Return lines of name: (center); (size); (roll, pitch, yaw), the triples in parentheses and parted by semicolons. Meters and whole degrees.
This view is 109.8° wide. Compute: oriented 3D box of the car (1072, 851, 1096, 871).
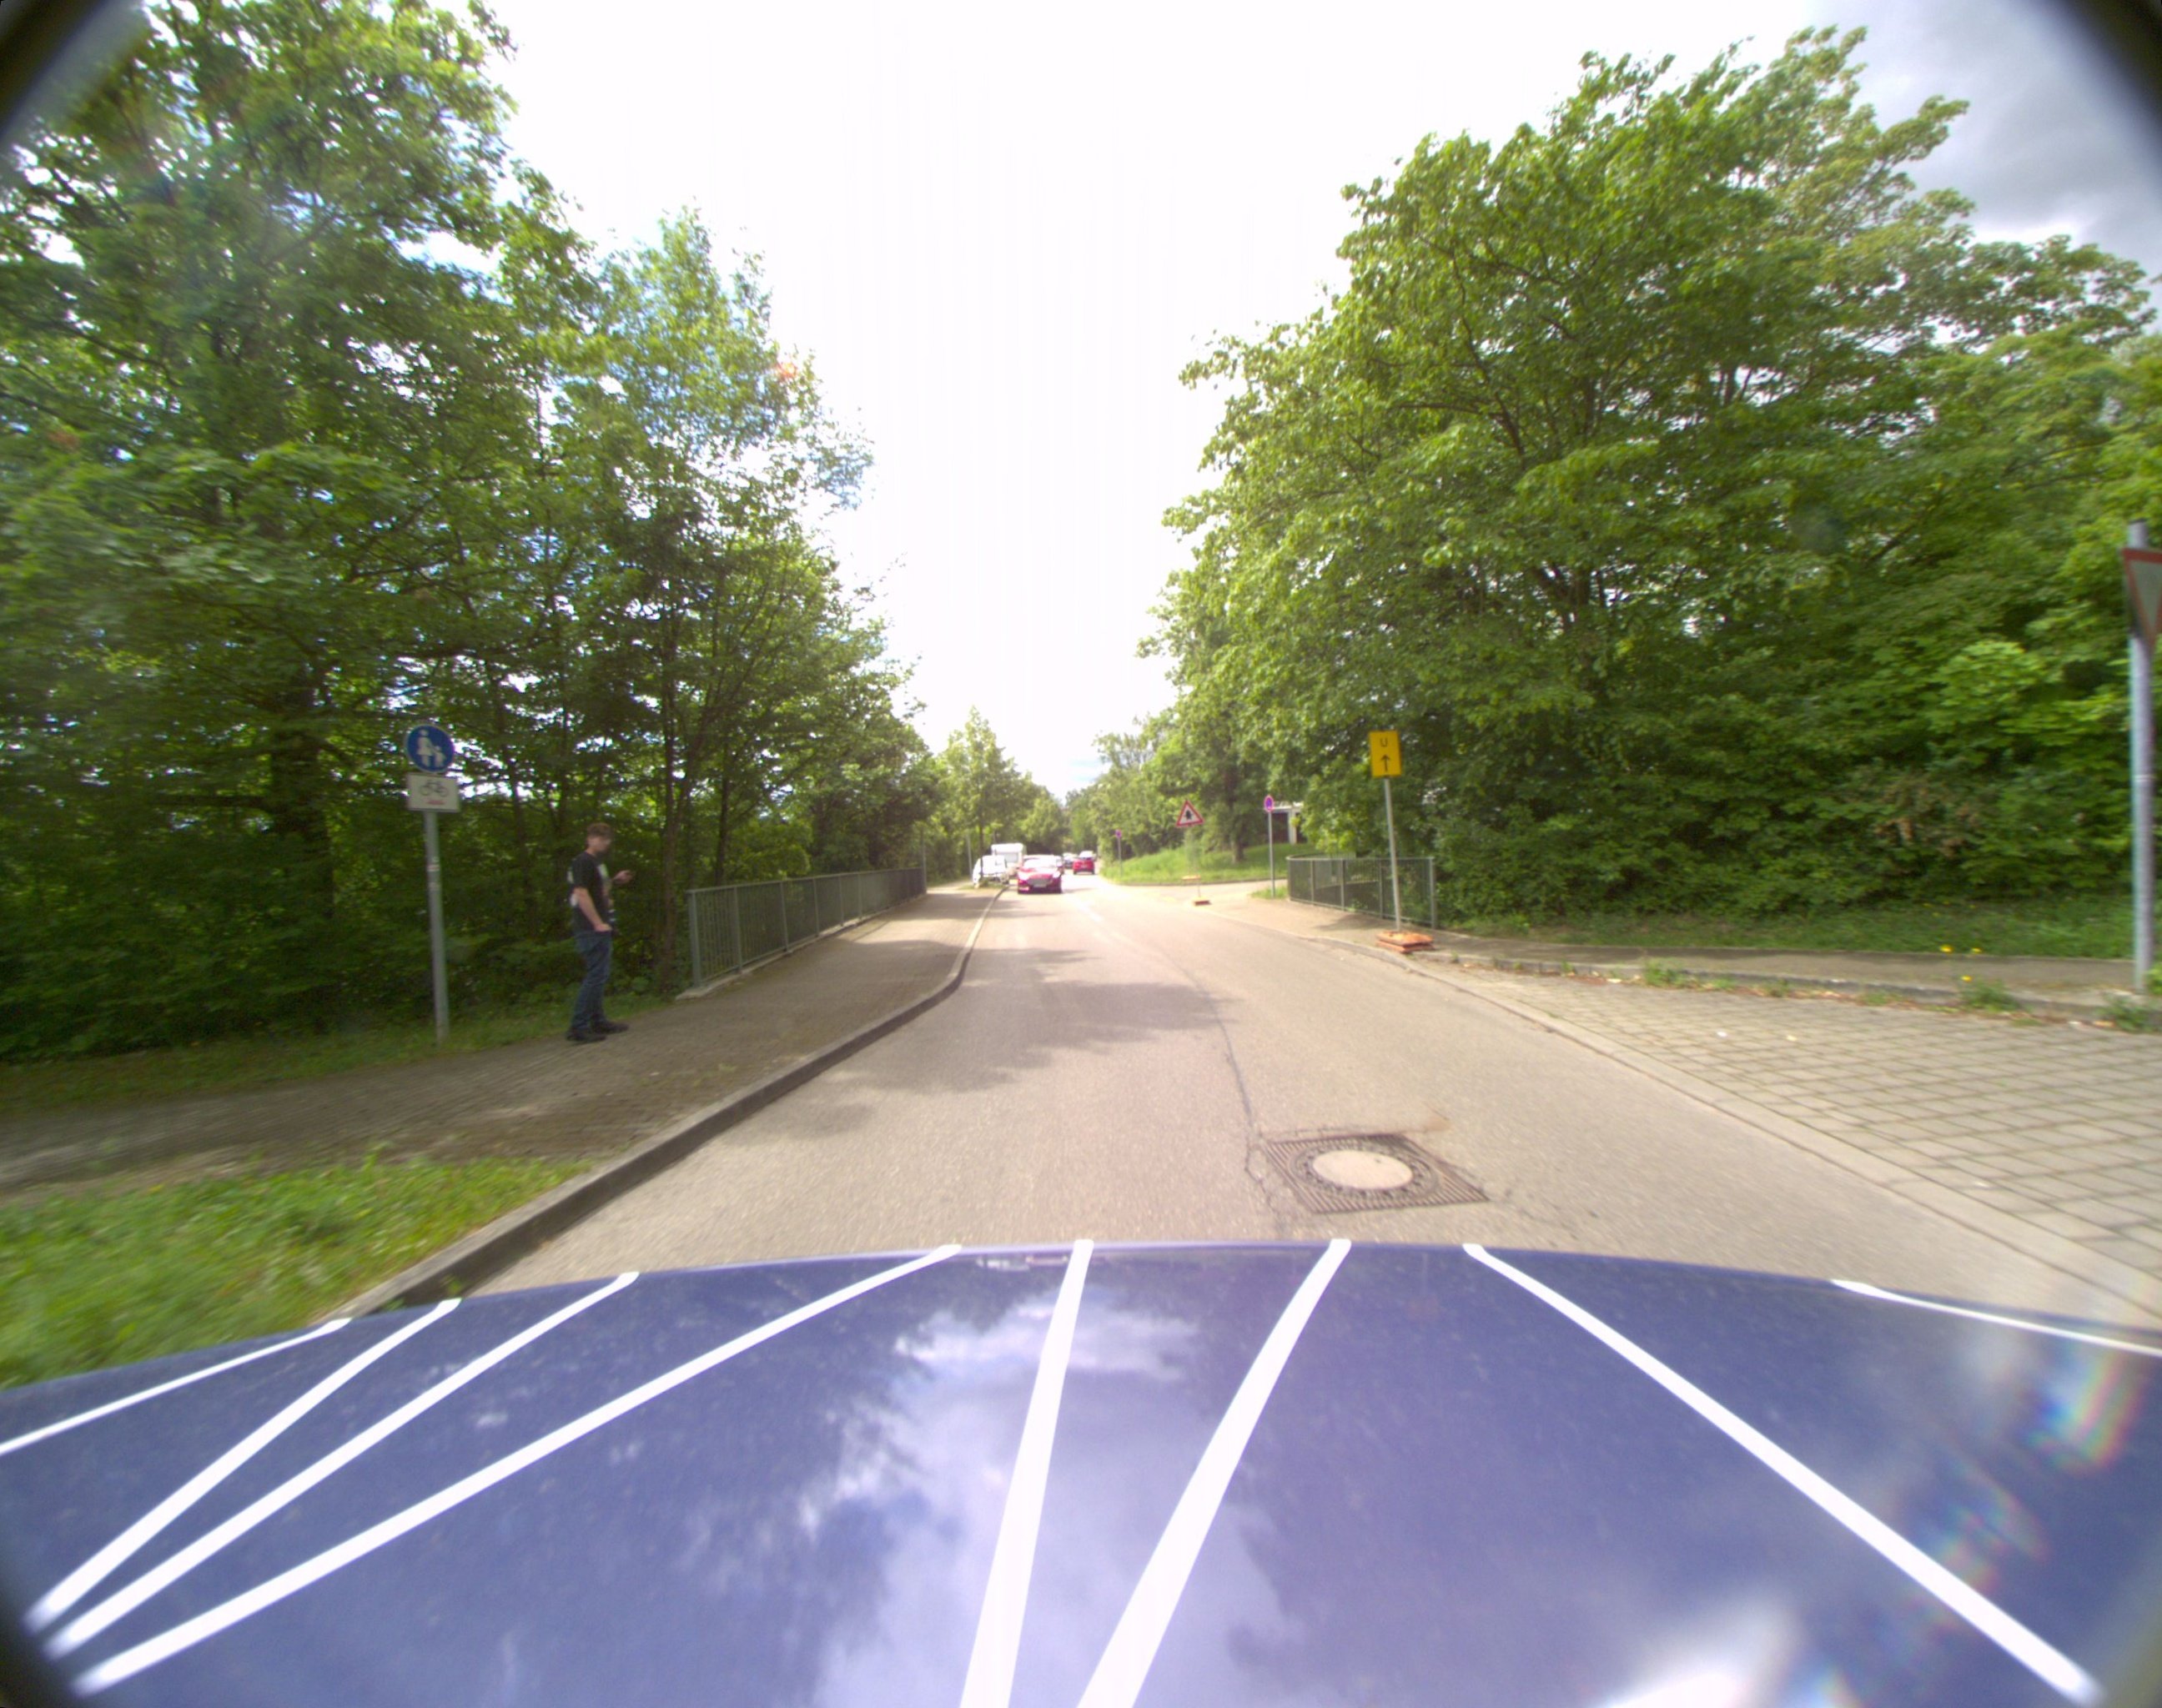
car: (0.274, 0.615, 66.636); (1.847, 1.649, 4.222); (-2, 0, 2)

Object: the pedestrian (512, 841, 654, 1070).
pedestrian: (-4.049, 0.794, 6.212); (0.681, 1.773, 0.589); (-2, 1, 10)

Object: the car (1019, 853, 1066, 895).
car: (-1.753, 0.808, 33.229); (1.913, 1.689, 4.385); (-1, 0, -5)

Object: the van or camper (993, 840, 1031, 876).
van or camper: (-4.996, 0.247, 55.872); (2.361, 2.539, 5.073); (-1, 1, -1)

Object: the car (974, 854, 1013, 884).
car: (-4.861, 0.795, 42.732); (1.810, 1.590, 4.370); (-1, 0, -2)

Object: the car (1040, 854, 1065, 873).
car: (-2.513, 0.832, 67.884); (1.795, 1.500, 4.112); (-4, 1, 3)

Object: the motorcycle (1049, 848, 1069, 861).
motorcycle: (-2.698, 0.027, 93.513); (2.306, 1.468, 0.977); (2, 3, 36)

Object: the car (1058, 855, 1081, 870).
car: (-1.215, 0.893, 84.083); (1.794, 1.500, 4.115); (2, 1, 9)

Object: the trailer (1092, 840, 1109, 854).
trailer: (3.014, -1.119, 116.991); (1.732, 2.067, 3.786); (1, 3, 17)
